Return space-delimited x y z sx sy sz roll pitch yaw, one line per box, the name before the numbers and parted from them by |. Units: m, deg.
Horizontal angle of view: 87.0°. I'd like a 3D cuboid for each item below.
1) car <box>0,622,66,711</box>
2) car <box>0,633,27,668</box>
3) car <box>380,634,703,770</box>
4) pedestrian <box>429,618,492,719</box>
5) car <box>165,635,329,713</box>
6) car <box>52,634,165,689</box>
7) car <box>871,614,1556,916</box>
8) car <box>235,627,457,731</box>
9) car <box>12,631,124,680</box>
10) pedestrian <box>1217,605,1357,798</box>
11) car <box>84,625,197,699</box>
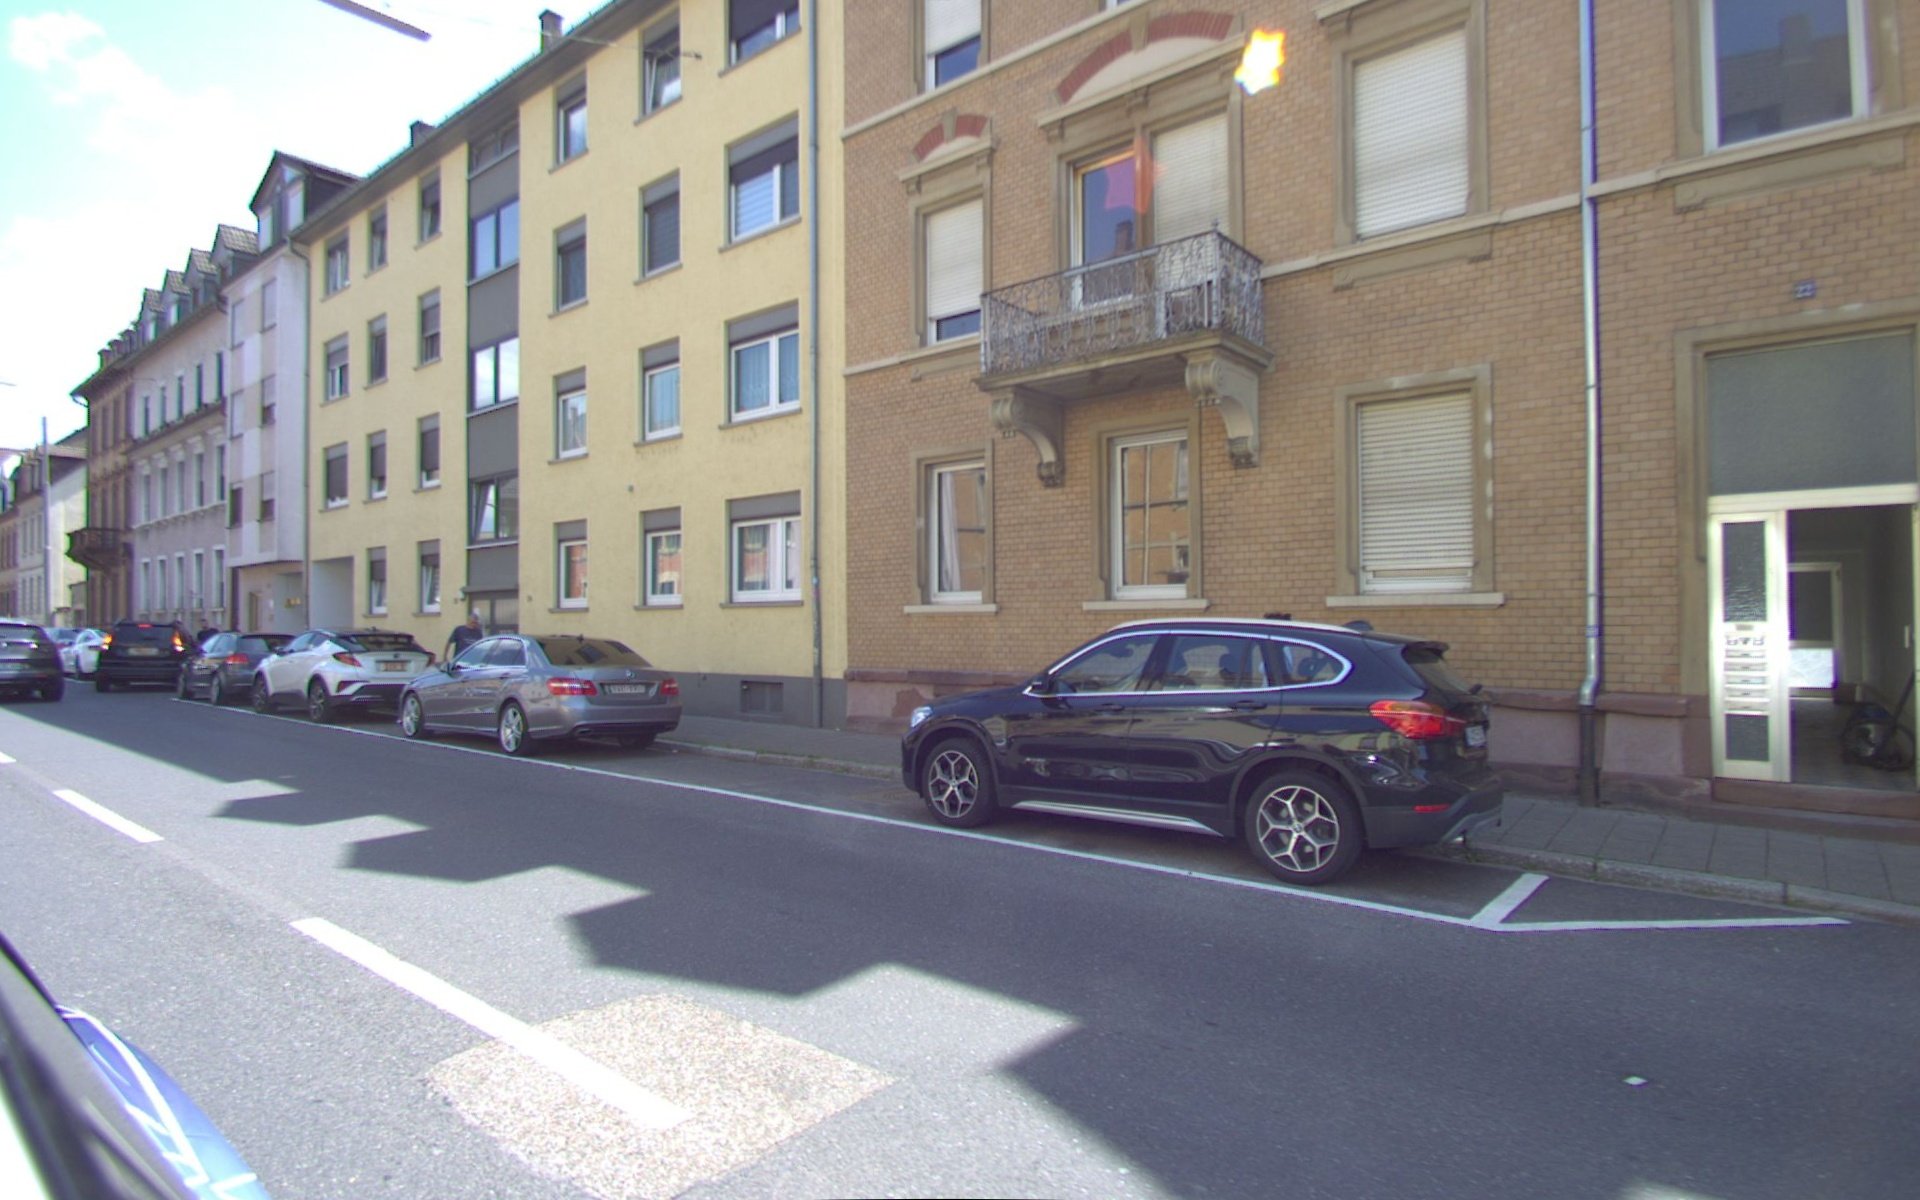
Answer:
car | -19.286 1.251 19.790 4.440 1.623 1.889 -2 -3 38
car | -41.762 2.135 43.418 4.097 1.422 1.728 -1 -5 37
car | -5.577 1.227 13.217 4.682 1.463 1.885 -2 -5 40
pedestrian | -9.052 1.222 18.332 0.793 1.769 0.876 1 -3 -43
car | -14.455 1.469 20.451 3.912 1.422 1.726 -2 -5 41
car | -24.227 1.733 28.748 4.281 1.422 1.726 -2 -5 41
car | 1.639 0.971 7.414 4.494 1.563 1.847 -2 -5 38
car | -10.556 1.302 17.302 4.309 1.563 1.846 -2 -5 39
car | -28.402 1.751 32.189 4.506 1.422 1.728 -1 -5 37
pedestrian | 2.816 0.831 8.719 0.876 1.546 0.793 -2 -3 44
car | -19.638 1.491 24.410 1.721 1.600 3.962 5 -5 -35
